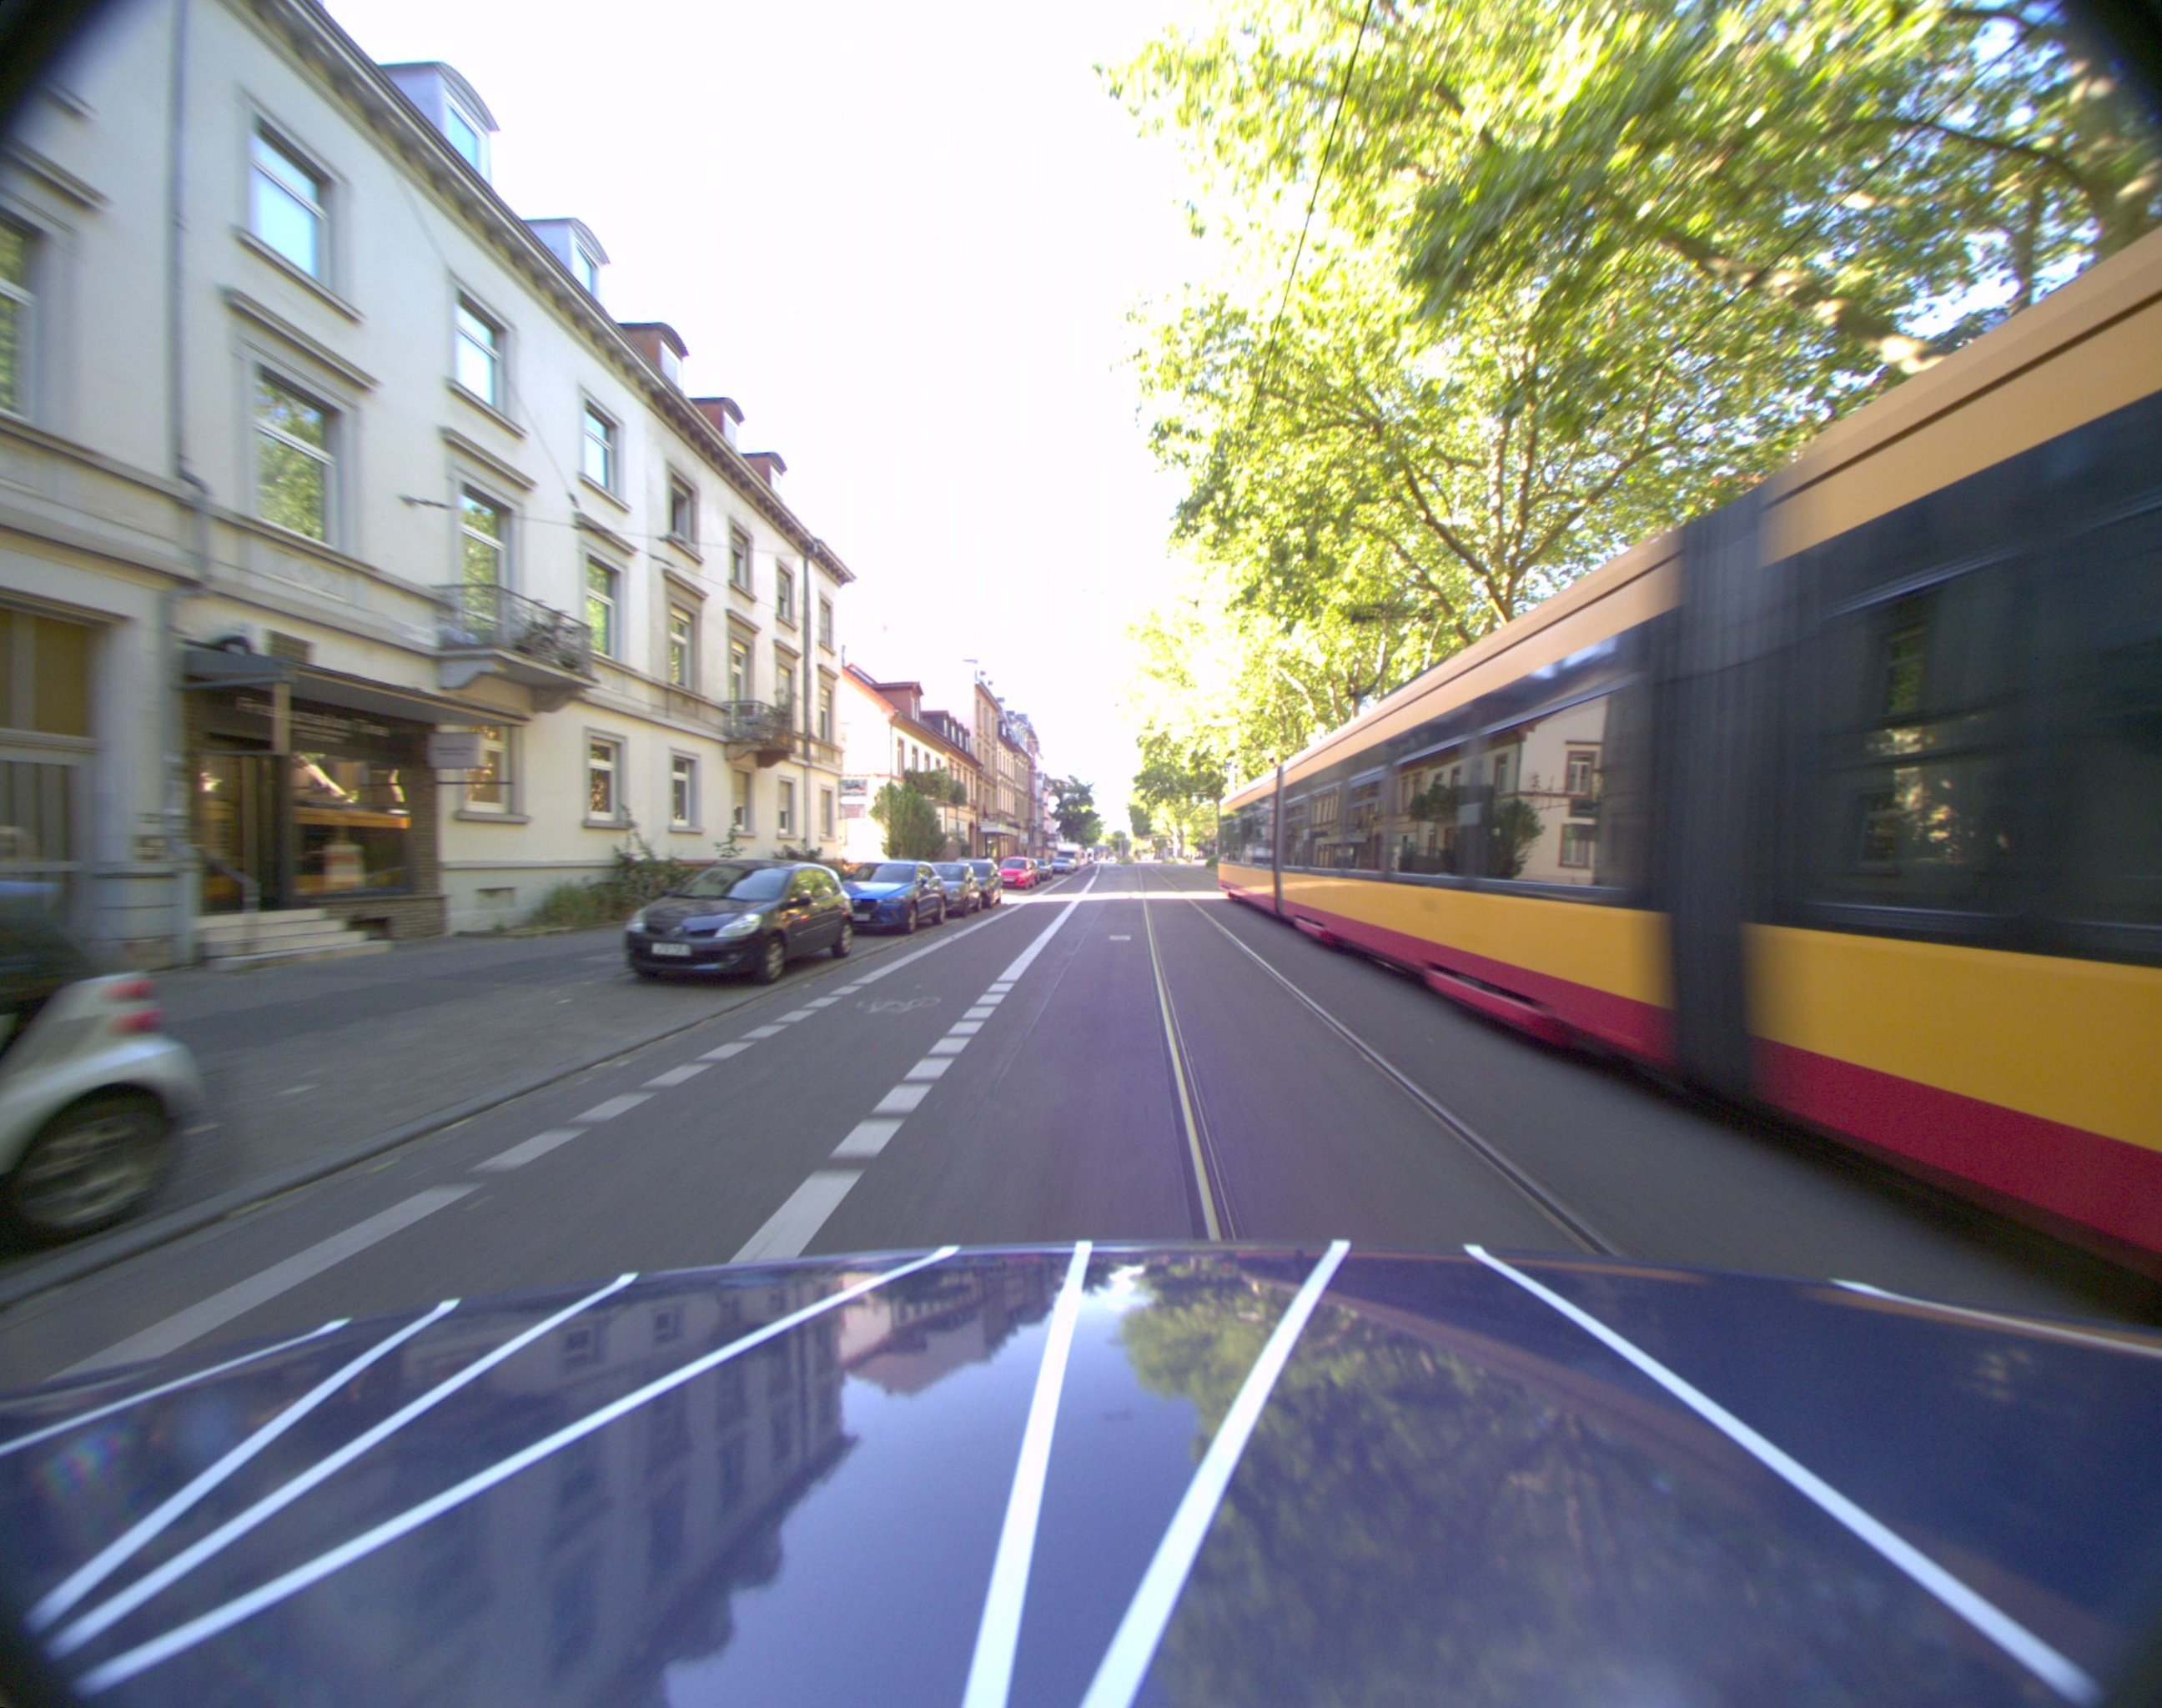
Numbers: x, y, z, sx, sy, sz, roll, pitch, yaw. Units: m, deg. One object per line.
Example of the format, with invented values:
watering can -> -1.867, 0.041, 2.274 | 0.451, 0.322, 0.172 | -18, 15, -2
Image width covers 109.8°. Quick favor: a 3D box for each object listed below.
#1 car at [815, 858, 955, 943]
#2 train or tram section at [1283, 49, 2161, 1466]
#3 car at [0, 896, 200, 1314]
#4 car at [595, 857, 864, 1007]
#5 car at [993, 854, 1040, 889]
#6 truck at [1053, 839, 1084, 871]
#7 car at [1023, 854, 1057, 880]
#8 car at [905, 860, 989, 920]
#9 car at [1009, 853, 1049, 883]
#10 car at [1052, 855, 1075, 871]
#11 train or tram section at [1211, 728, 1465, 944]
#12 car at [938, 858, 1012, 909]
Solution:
car -> -4.116, 0.906, 16.647 | 1.729, 1.497, 3.908 | 4, 1, 4
train or tram section -> 4.618, -0.336, 7.423 | 2.943, 3.598, 11.260 | -2, 1, 4
car -> -4.908, 0.977, 2.141 | 1.514, 1.534, 2.821 | 1, 1, 3
car -> -4.438, 0.866, 10.331 | 1.634, 1.497, 3.907 | 4, 1, 2
car -> -3.116, 0.826, 37.315 | 1.702, 1.559, 3.687 | 1, 0, 4
truck -> -1.249, 0.047, 81.872 | 2.842, 3.145, 7.293 | -2, 1, 2
car -> -2.596, 0.792, 48.624 | 1.702, 1.559, 3.687 | 1, 0, 4
car -> -3.717, 0.956, 21.547 | 1.542, 1.497, 3.360 | 1, 0, 4
car -> -2.864, 0.756, 42.467 | 1.702, 1.559, 3.687 | 1, 0, 4
car -> -1.507, 0.795, 67.595 | 1.702, 1.324, 3.687 | 1, 0, 4
train or tram section -> 5.479, -0.372, 19.280 | 2.943, 3.598, 12.412 | -2, 1, 4
car -> -3.521, 0.939, 25.876 | 1.729, 1.559, 3.687 | 1, 0, 4
